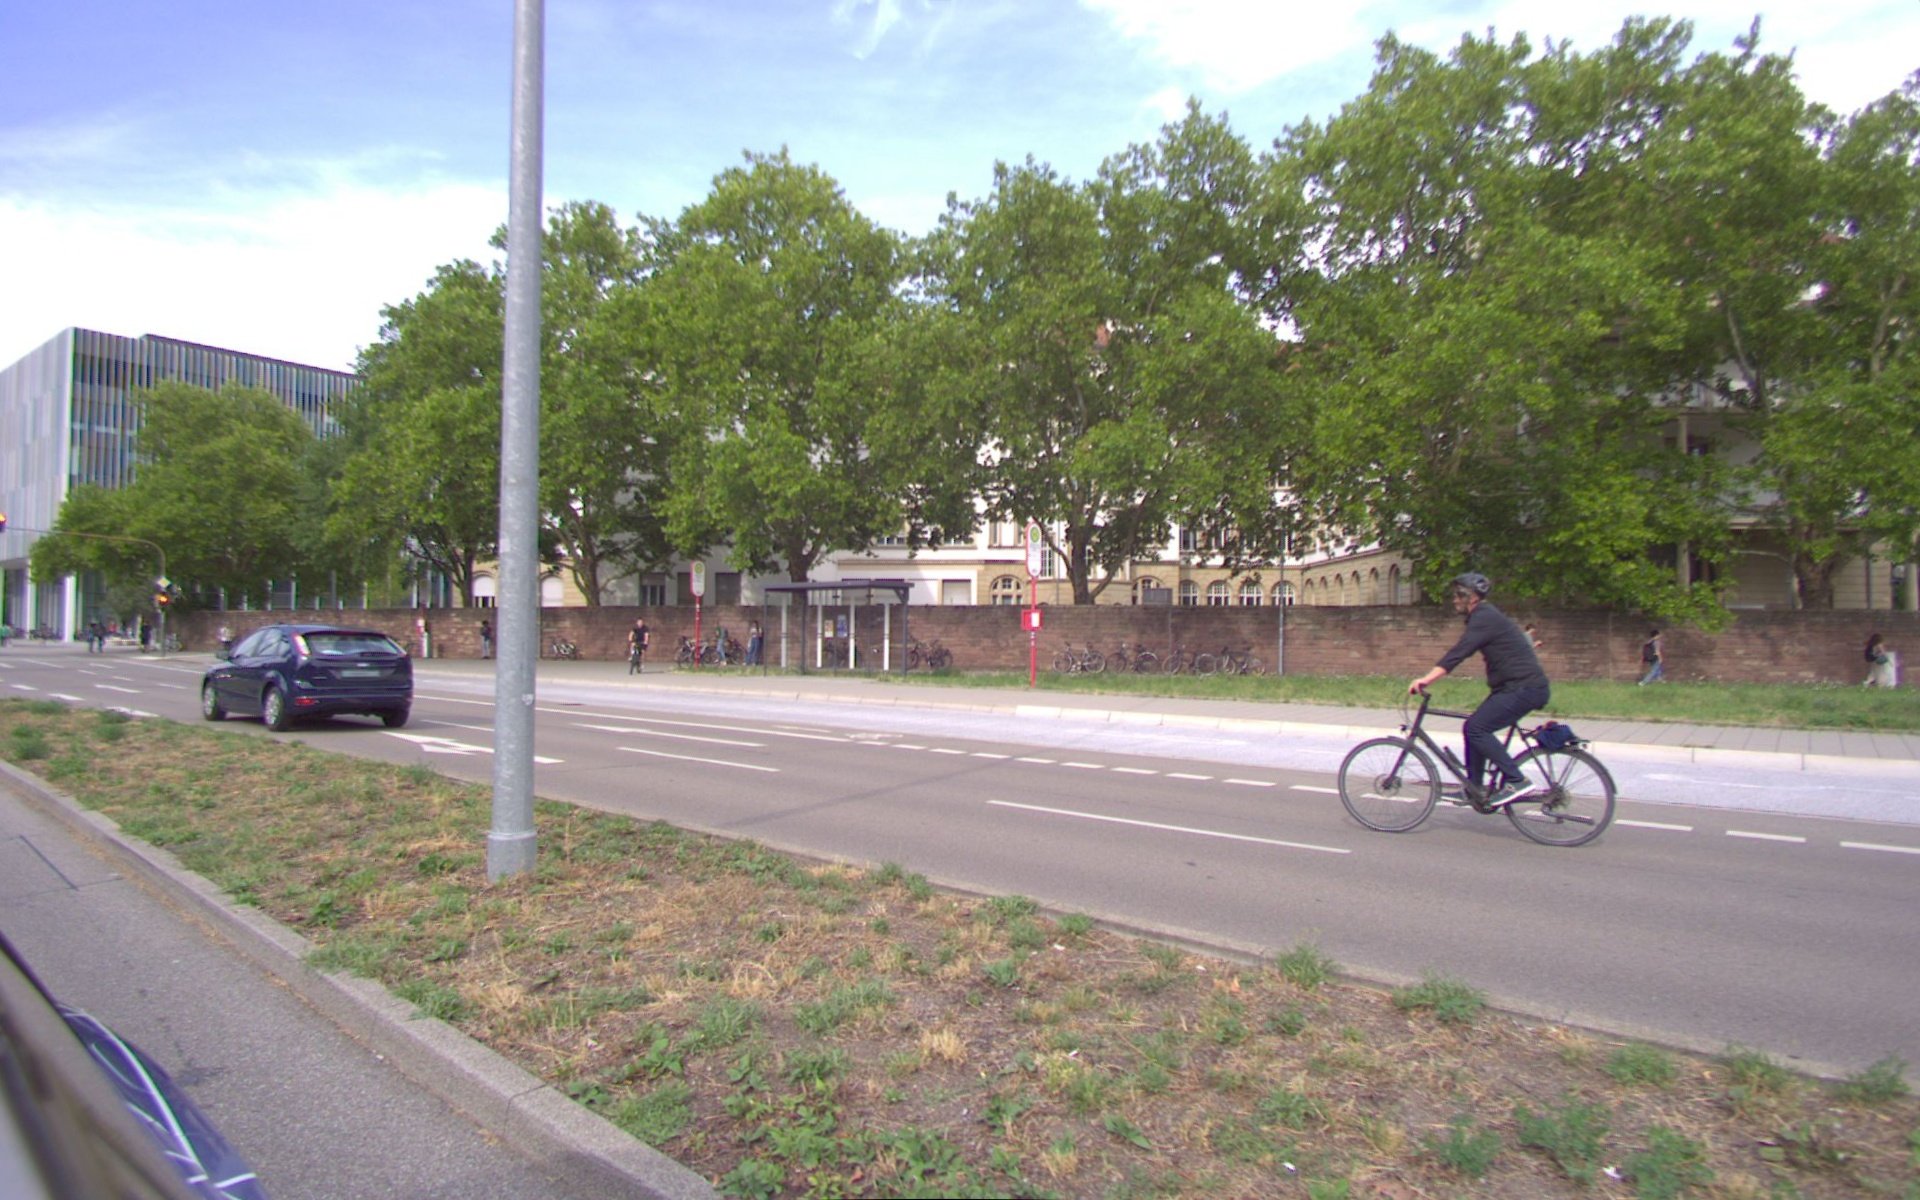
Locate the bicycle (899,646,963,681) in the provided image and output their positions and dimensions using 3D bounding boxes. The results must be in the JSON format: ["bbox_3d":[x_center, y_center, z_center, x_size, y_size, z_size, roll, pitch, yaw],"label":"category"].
[{"bbox_3d":[-0.986,2.178,34.758,2.082,1.198,0.754,-1,-4,19],"label":"bicycle"}]

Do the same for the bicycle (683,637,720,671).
[{"bbox_3d":[-9.394,1.976,36.816,0.748,1.198,2.098,1,-4,1],"label":"bicycle"}]

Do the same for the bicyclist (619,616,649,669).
[{"bbox_3d":[-9.924,1.287,30.820,0.571,1.567,0.799,2,0,-41],"label":"bicyclist"}]

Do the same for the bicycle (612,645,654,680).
[{"bbox_3d":[-9.994,1.901,30.862,0.498,0.943,1.975,2,0,-40],"label":"bicycle"}]

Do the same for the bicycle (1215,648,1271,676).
[{"bbox_3d":[8.964,1.958,32.138,1.692,0.871,0.357,0,-4,15],"label":"bicycle"}]

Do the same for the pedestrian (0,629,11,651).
[{"bbox_3d":[-70.747,2.971,74.773,0.664,1.634,0.746,-1,0,34],"label":"pedestrian"}]

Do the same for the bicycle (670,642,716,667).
[{"bbox_3d":[-10.115,2.054,38.328,1.565,0.894,0.657,-1,1,21],"label":"bicycle"}]

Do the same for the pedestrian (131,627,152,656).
[{"bbox_3d":[-46.200,2.325,57.143,0.664,1.634,0.746,-1,0,34],"label":"pedestrian"}]

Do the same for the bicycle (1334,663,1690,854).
[{"bbox_3d":[3.800,1.065,7.201,2.082,1.198,0.754,-1,-4,19],"label":"bicycle"}]

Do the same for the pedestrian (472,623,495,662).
[{"bbox_3d":[-20.204,1.803,42.922,0.656,1.634,0.755,-1,0,-1],"label":"pedestrian"}]

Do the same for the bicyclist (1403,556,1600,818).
[{"bbox_3d":[3.810,0.602,7.230,1.077,1.724,0.773,-1,-4,19],"label":"bicyclist"}]

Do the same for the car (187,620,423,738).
[{"bbox_3d":[-9.792,1.089,15.016,4.127,1.501,1.766,-1,-4,40],"label":"car"}]

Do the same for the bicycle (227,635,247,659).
[{"bbox_3d":[-38.593,2.516,54.020,1.395,1.218,0.506,-1,0,40],"label":"bicycle"}]

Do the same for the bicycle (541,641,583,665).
[{"bbox_3d":[-16.133,2.153,41.019,1.565,0.894,0.657,-1,1,21],"label":"bicycle"}]

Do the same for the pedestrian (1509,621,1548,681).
[{"bbox_3d":[16.229,1.435,28.897,0.769,1.667,0.578,-1,0,-8],"label":"pedestrian"}]

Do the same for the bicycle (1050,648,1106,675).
[{"bbox_3d":[3.897,2.017,33.472,1.807,0.871,0.357,-1,-4,18],"label":"bicycle"}]

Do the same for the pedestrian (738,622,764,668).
[{"bbox_3d":[-7.691,1.651,37.265,0.749,1.634,0.565,-1,0,18],"label":"pedestrian"}]

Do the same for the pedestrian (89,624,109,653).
[{"bbox_3d":[-50.676,2.261,59.563,0.664,1.634,0.746,-1,0,34],"label":"pedestrian"}]

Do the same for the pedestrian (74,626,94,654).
[{"bbox_3d":[-50.867,2.320,58.768,0.664,1.634,0.746,-1,0,34],"label":"pedestrian"}]

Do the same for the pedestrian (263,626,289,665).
[{"bbox_3d":[-29.395,1.954,43.496,0.664,1.634,0.746,-1,0,34],"label":"pedestrian"}]

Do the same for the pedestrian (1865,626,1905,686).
[{"bbox_3d":[26.241,1.595,28.722,0.622,1.667,0.530,-1,0,7],"label":"pedestrian"}]

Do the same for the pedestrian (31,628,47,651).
[{"bbox_3d":[-66.931,2.847,73.543,0.664,1.634,0.746,-1,0,34],"label":"pedestrian"}]

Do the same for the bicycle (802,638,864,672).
[{"bbox_3d":[-4.529,1.956,36.149,2.082,1.198,0.754,-1,-4,19],"label":"bicycle"}]

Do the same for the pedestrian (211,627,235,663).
[{"bbox_3d":[-34.447,2.088,47.291,0.664,1.634,0.746,-1,0,34],"label":"pedestrian"}]

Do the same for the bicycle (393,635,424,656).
[{"bbox_3d":[-24.917,2.062,45.719,1.569,0.894,0.429,-1,1,30],"label":"bicycle"}]

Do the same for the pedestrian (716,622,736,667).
[{"bbox_3d":[-8.665,1.654,37.424,0.481,1.634,0.565,-1,0,18],"label":"pedestrian"}]

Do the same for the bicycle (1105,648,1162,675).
[{"bbox_3d":[5.631,1.997,32.886,1.796,0.871,0.356,-1,-4,20],"label":"bicycle"}]

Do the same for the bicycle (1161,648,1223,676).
[{"bbox_3d":[7.372,1.976,32.210,1.877,0.871,0.356,-1,-4,22],"label":"bicycle"}]

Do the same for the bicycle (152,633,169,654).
[{"bbox_3d":[-47.787,2.616,60.500,1.395,1.218,0.506,-1,0,40],"label":"bicycle"}]

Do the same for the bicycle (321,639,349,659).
[{"bbox_3d":[-30.051,2.345,48.617,1.569,0.894,0.429,-1,1,30],"label":"bicycle"}]

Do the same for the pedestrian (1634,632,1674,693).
[{"bbox_3d":[19.613,1.744,28.598,0.768,1.667,0.579,-1,0,-20],"label":"pedestrian"}]
